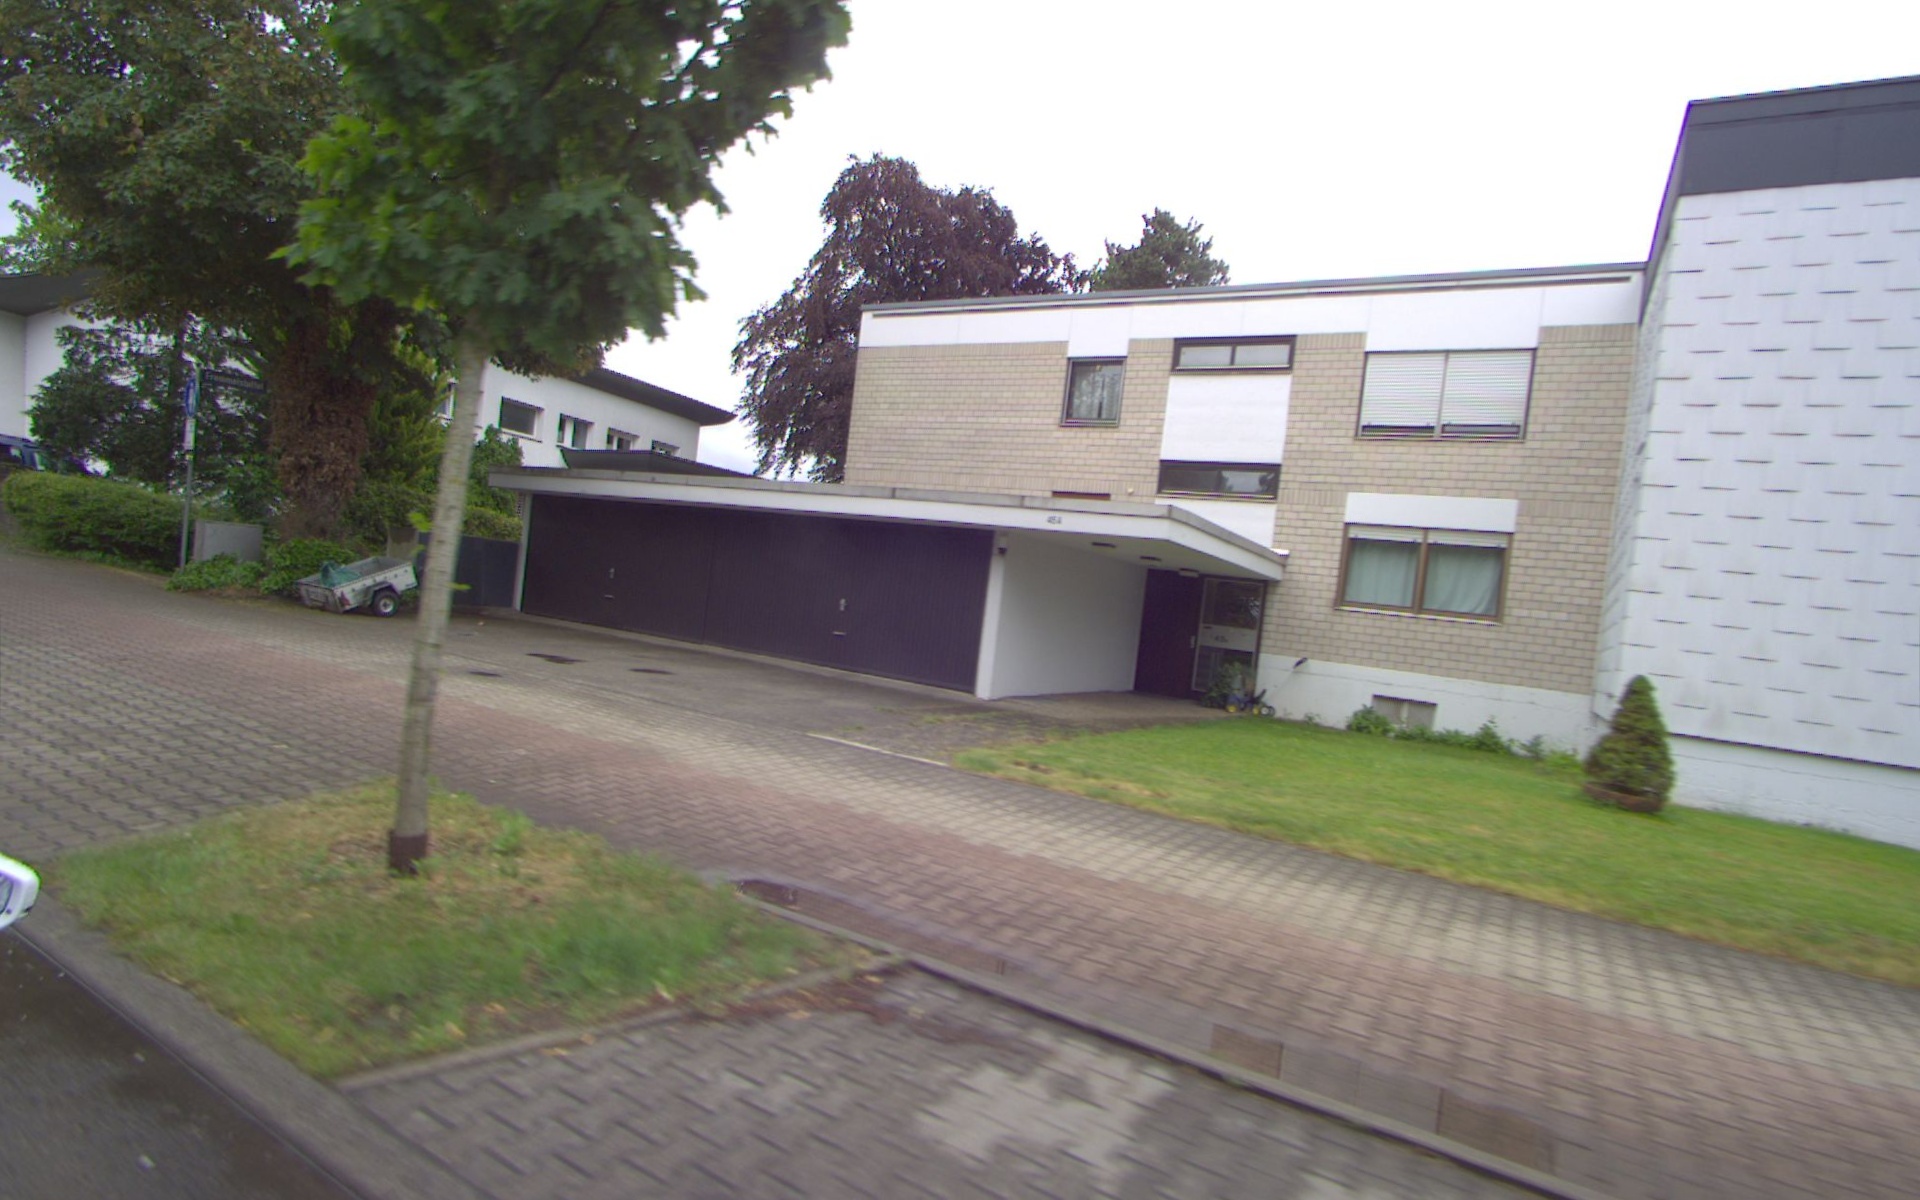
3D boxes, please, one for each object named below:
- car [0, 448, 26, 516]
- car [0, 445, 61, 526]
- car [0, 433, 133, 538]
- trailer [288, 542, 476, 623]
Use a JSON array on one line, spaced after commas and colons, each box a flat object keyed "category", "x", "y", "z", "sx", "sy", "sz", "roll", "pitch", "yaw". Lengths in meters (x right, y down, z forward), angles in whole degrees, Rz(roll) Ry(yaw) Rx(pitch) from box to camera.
[{"category": "car", "x": -27.309, "y": -3.471, "z": 26.088, "sx": 1.797, "sy": 1.728, "sz": 3.999, "roll": 10, "pitch": -1, "yaw": 27}, {"category": "car", "x": -24.845, "y": -3.106, "z": 24.395, "sx": 1.797, "sy": 1.833, "sz": 3.999, "roll": 10, "pitch": -1, "yaw": 27}, {"category": "car", "x": -22.583, "y": -2.874, "z": 23.884, "sx": 1.797, "sy": 2.037, "sz": 3.999, "roll": 10, "pitch": -1, "yaw": 27}, {"category": "trailer", "x": -8.807, "y": -0.250, "z": 15.397, "sx": 1.342, "sy": 0.893, "sz": 2.045, "roll": 7, "pitch": -2, "yaw": 34}]
